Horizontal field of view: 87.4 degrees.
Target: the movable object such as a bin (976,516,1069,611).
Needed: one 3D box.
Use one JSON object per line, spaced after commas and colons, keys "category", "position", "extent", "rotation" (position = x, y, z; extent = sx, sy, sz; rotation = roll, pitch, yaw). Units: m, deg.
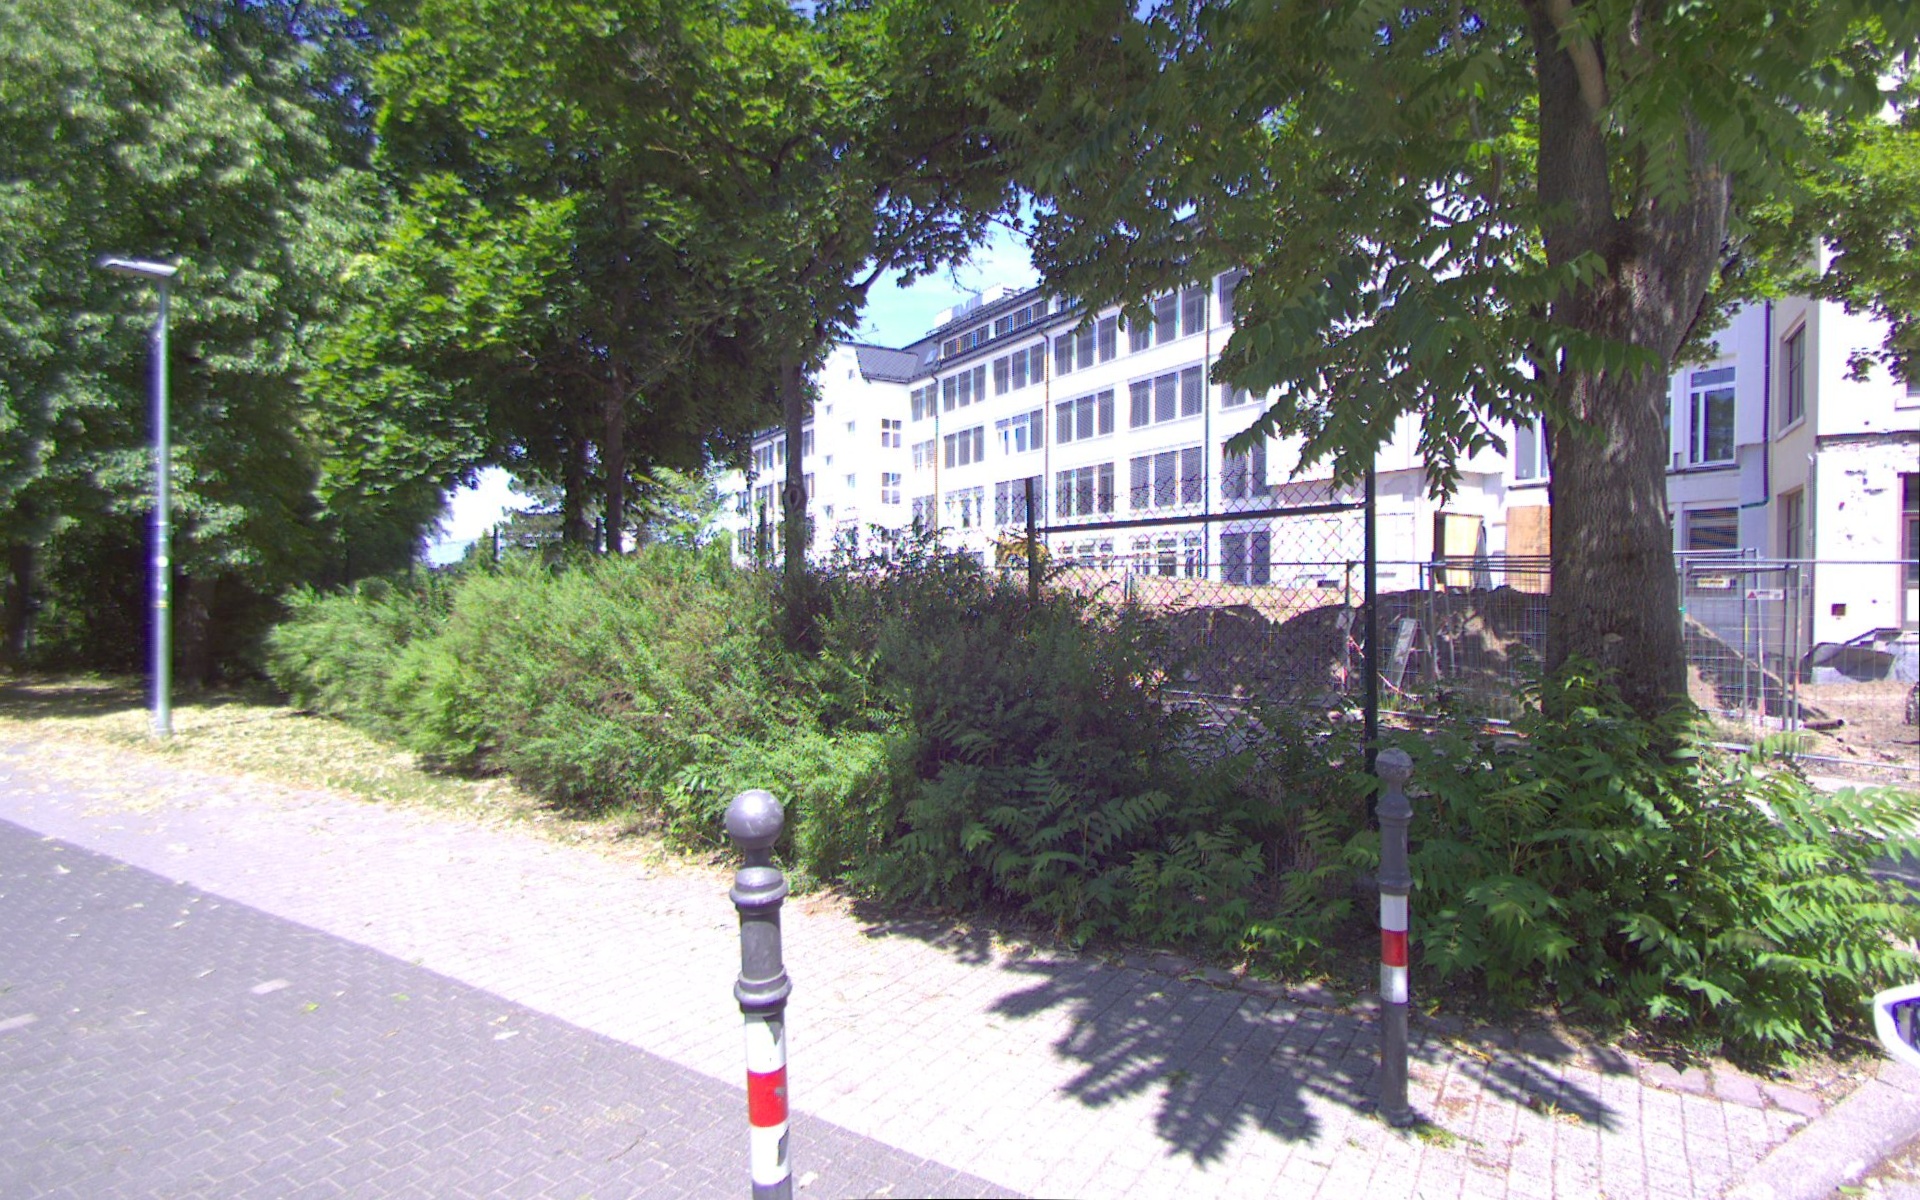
{"category": "movable object such as a bin", "position": [3.021, -1.711, 49.920], "extent": [1.974, 4.430, 5.684], "rotation": [1, 0, -27]}
